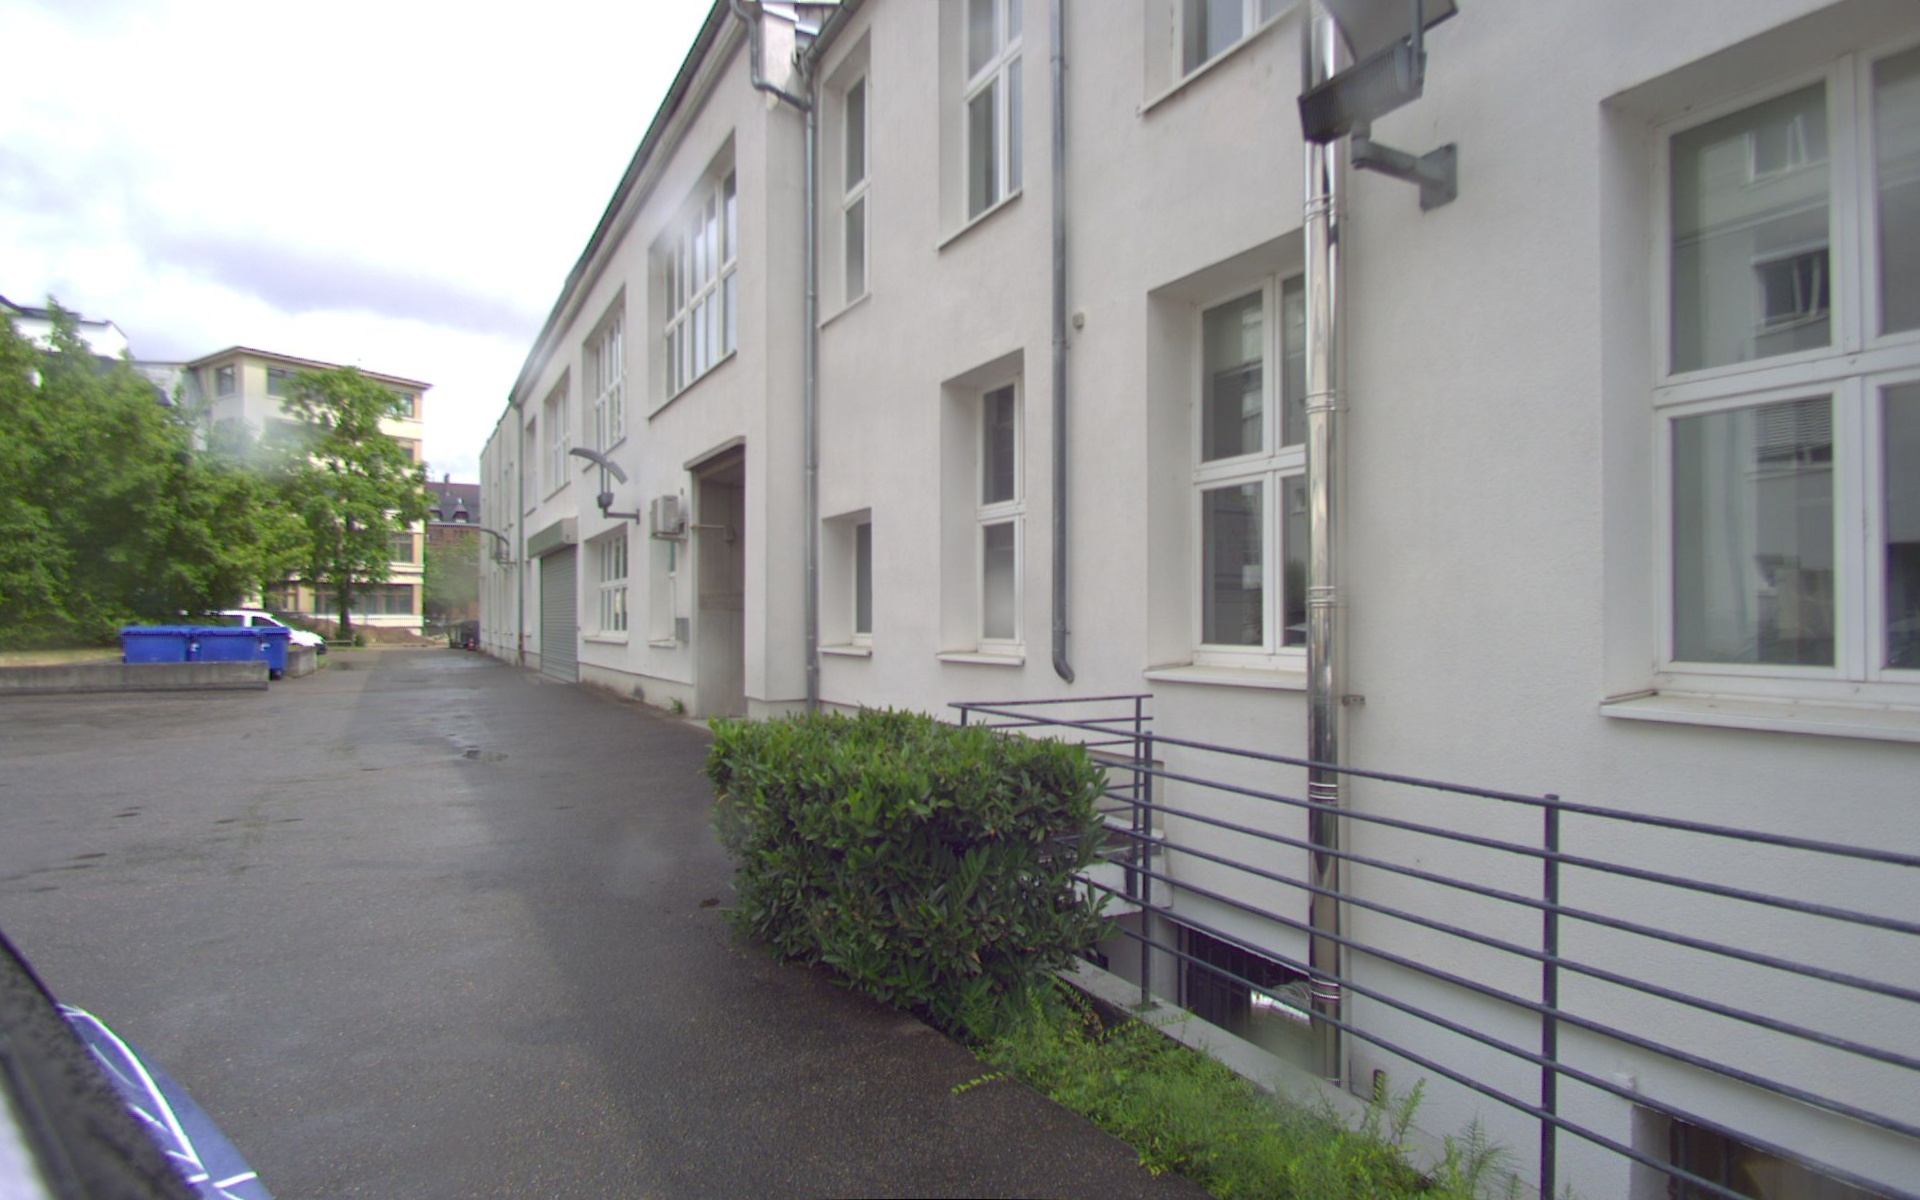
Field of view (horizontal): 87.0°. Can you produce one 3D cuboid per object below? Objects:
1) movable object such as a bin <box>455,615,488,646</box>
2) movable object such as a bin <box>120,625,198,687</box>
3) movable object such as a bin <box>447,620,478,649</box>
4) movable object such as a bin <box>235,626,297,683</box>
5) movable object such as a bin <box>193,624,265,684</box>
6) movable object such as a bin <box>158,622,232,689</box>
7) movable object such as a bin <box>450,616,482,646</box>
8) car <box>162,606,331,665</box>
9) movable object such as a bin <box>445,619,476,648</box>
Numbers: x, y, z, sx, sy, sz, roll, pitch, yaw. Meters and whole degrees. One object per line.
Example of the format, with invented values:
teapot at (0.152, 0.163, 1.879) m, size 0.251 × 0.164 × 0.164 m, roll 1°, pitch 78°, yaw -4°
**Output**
movable object such as a bin at (-24.020, 1.503, 49.756) m, size 1.340 × 1.482 × 1.370 m, roll -2°, pitch -1°, yaw -30°
movable object such as a bin at (-17.903, 1.234, 22.658) m, size 1.212 × 1.327 × 1.059 m, roll 1°, pitch -3°, yaw -30°
movable object such as a bin at (-26.377, 1.830, 53.680) m, size 1.340 × 1.482 × 1.469 m, roll -2°, pitch -1°, yaw -30°
movable object such as a bin at (-17.225, 1.333, 25.146) m, size 1.158 × 1.327 × 1.059 m, roll -2°, pitch -1°, yaw -30°
movable object such as a bin at (-16.809, 1.234, 23.308) m, size 1.212 × 1.327 × 1.059 m, roll 1°, pitch -3°, yaw -30°
movable object such as a bin at (-18.228, 1.315, 24.157) m, size 1.257 × 1.494 × 1.105 m, roll -2°, pitch -1°, yaw -30°
movable object such as a bin at (-24.991, 1.568, 51.188) m, size 1.340 × 1.482 × 1.370 m, roll -2°, pitch -1°, yaw -30°
car at (-26.395, 1.286, 37.677) m, size 4.867 × 2.029 × 2.006 m, roll -1°, pitch -1°, yaw -26°
movable object such as a bin at (-27.171, 1.811, 55.024) m, size 1.389 × 1.482 × 1.565 m, roll -2°, pitch -1°, yaw -30°
